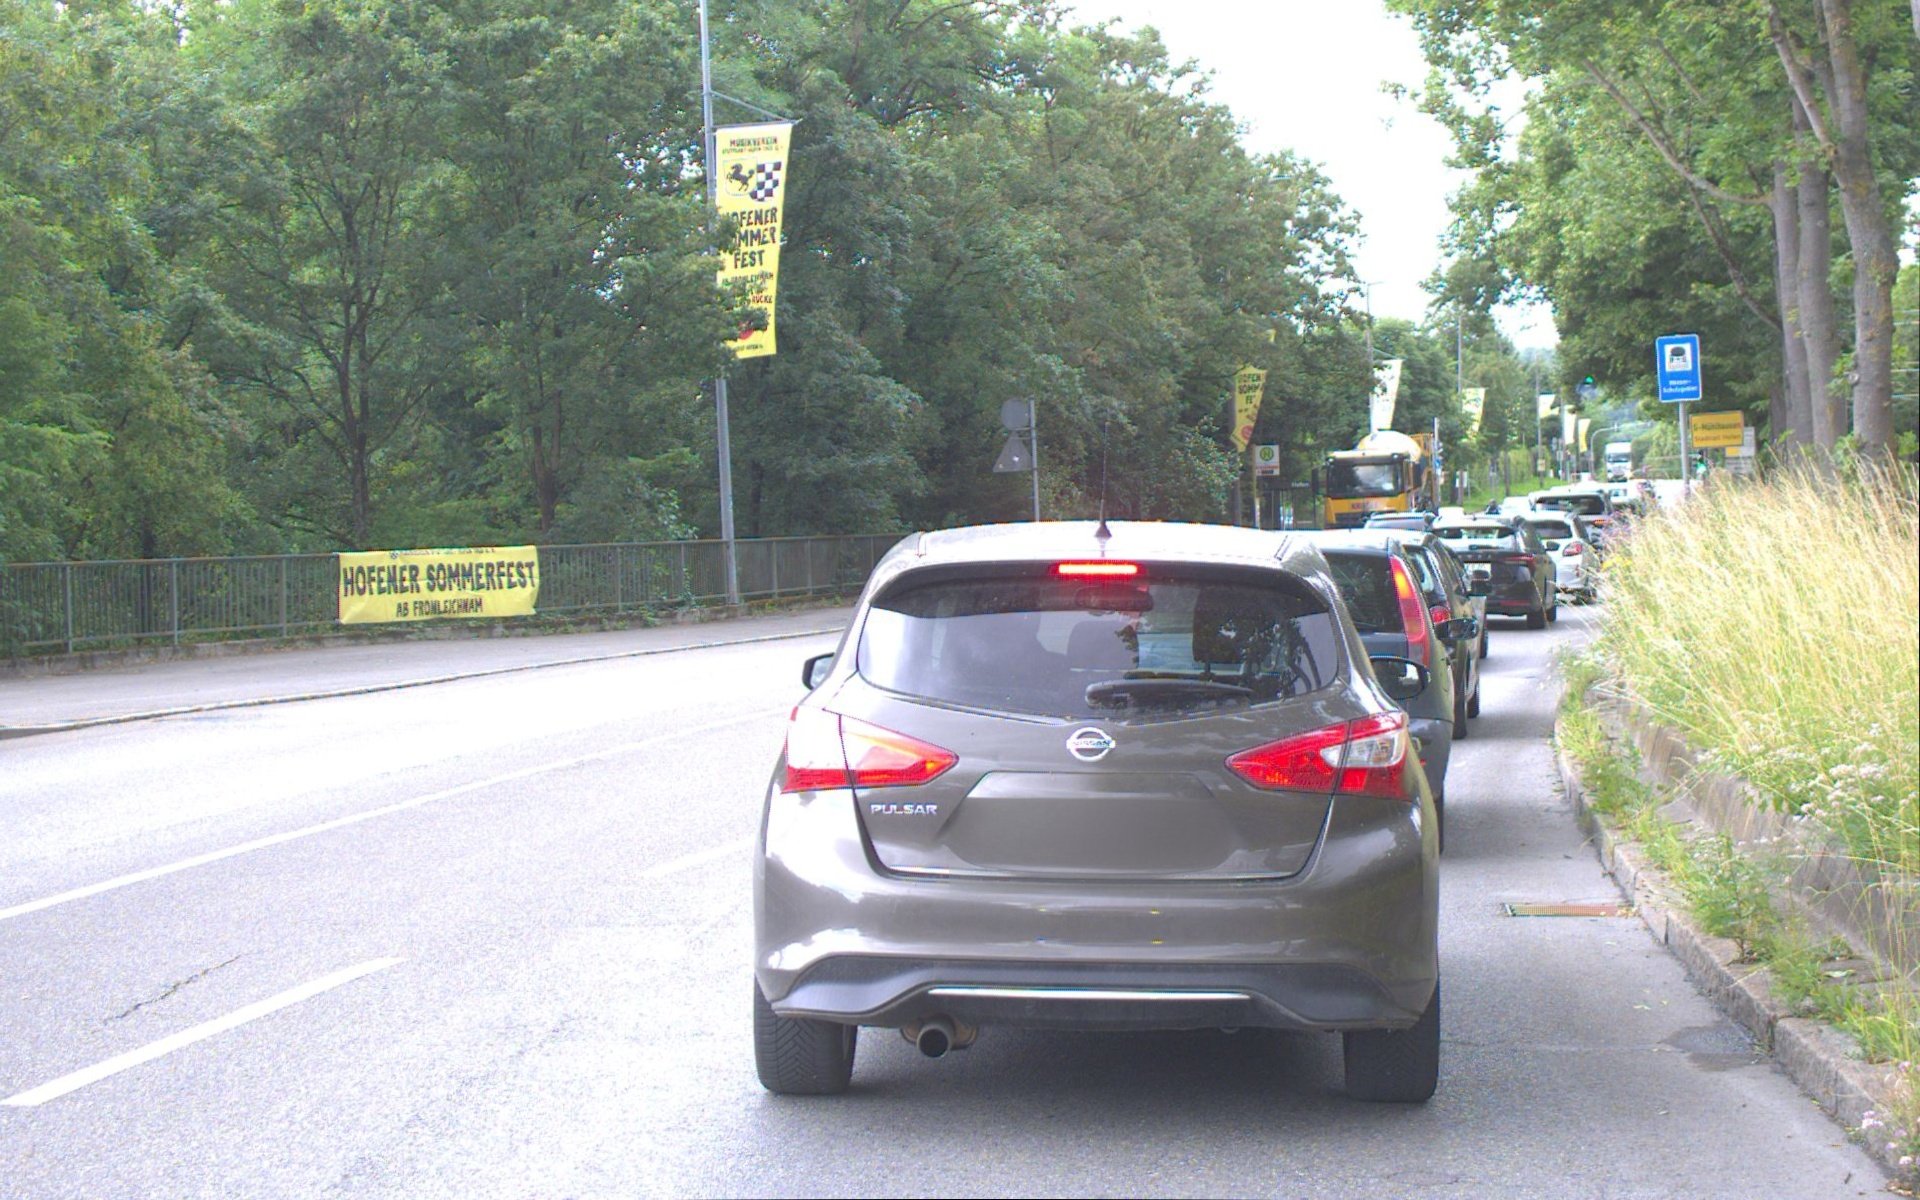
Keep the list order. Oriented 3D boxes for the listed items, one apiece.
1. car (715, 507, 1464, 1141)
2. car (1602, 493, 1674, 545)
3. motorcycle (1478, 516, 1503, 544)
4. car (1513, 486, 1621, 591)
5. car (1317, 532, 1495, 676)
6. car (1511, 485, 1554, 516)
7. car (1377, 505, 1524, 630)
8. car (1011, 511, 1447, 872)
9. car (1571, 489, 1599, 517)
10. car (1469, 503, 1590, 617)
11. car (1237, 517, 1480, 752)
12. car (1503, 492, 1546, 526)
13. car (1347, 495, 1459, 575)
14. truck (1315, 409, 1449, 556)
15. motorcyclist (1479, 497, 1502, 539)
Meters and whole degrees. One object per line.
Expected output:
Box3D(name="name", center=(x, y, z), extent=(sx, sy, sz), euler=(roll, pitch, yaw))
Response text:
Box3D(name="car", center=(0.437, 0.521, 10.181), extent=(1.775, 1.489, 3.999), euler=(0, 0, 4))
Box3D(name="car", center=(19.532, -2.339, 98.934), extent=(1.892, 1.440, 3.805), euler=(-1, 1, 13))
Box3D(name="motorcycle", center=(19.724, -2.602, 127.831), extent=(0.745, 1.030, 1.887), euler=(0, 1, 14))
Box3D(name="car", center=(12.159, -1.236, 68.703), extent=(1.892, 2.007, 3.998), euler=(-1, 1, 13))
Box3D(name="car", center=(4.622, 0.014, 35.298), extent=(1.501, 1.360, 3.585), euler=(-2, 1, 12))
Box3D(name="car", center=(27.835, -4.823, 167.070), extent=(1.818, 1.457, 3.998), euler=(-1, 1, 13))
Box3D(name="car", center=(6.407, -0.427, 44.765), extent=(1.805, 1.535, 3.999), euler=(1, 1, 9))
Box3D(name="car", center=(1.360, 0.398, 17.052), extent=(1.893, 1.568, 3.999), euler=(0, 0, 5))
Box3D(name="car", center=(41.190, -6.379, 226.494), extent=(1.719, 1.687, 3.723), euler=(-2, -1, 12))
Box3D(name="car", center=(9.191, -0.608, 55.318), extent=(1.719, 1.687, 3.998), euler=(-2, -1, 12))
Box3D(name="car", center=(2.970, 0.208, 25.091), extent=(1.578, 1.533, 3.999), euler=(-2, 0, 8))
Box3D(name="car", center=(25.694, -4.129, 156.388), extent=(1.722, 1.437, 3.998), euler=(-2, 0, 11))
Box3D(name="car", center=(8.857, -1.268, 68.459), extent=(1.852, 1.481, 4.418), euler=(-1, 0, 12))
Box3D(name="truck", center=(12.054, -3.274, 97.424), extent=(2.656, 3.925, 10.105), euler=(0, 1, 13))
Box3D(name="motorcyclist", center=(19.738, -3.045, 127.889), extent=(0.745, 1.533, 0.790), euler=(0, 1, 14))
